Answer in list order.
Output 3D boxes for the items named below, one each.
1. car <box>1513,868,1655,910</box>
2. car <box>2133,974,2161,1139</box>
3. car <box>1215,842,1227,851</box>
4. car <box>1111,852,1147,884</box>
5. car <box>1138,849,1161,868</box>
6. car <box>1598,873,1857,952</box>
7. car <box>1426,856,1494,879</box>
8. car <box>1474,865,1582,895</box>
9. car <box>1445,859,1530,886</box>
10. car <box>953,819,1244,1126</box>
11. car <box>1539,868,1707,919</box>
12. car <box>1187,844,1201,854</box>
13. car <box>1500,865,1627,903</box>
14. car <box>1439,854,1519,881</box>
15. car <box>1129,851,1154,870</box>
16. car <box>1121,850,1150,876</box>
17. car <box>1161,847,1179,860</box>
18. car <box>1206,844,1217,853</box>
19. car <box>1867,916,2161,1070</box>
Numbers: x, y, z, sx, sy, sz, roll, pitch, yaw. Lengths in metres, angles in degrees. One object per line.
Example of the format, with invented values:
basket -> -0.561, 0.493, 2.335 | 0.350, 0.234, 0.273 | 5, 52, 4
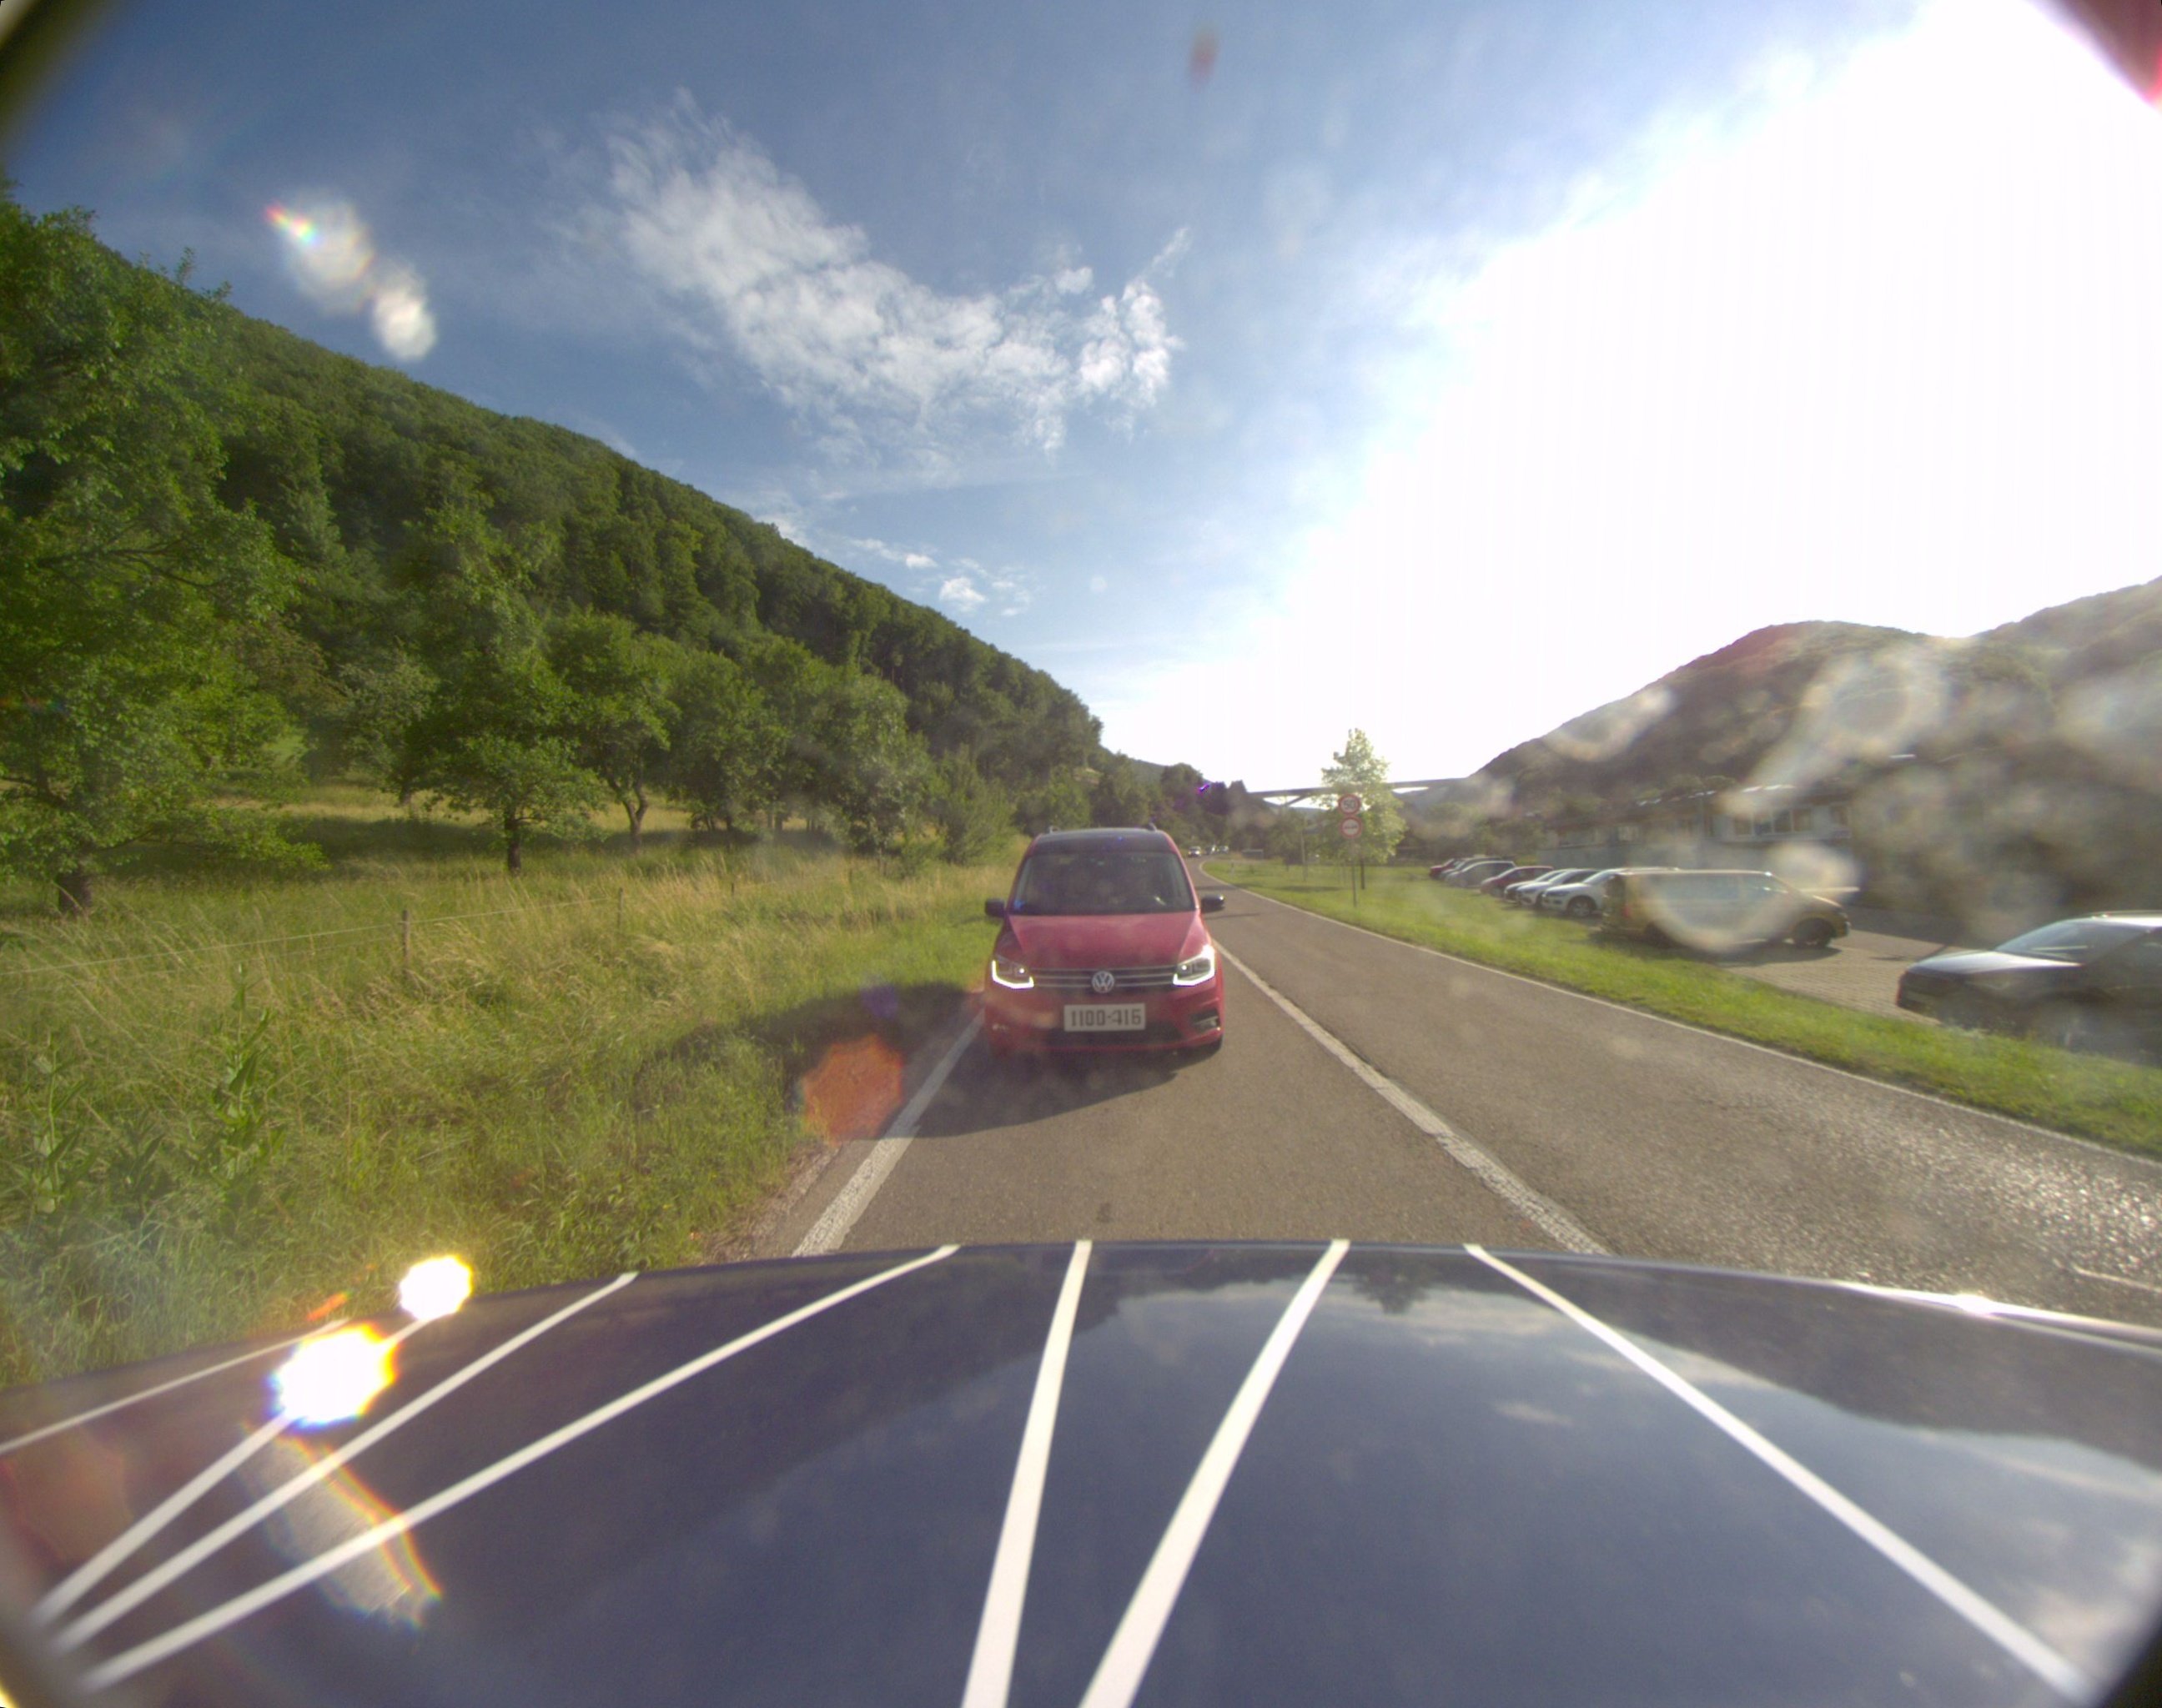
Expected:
car -> 20.210, 1.378, 30.776 | 4.437, 1.577, 2.003 | -1, 0, 20
car -> 12.033, 1.856, 5.716 | 4.645, 1.488, 1.915 | -1, 0, 15
car -> 30.016, -1.547, 162.546 | 1.996, 1.706, 4.006 | -2, -1, 17
car -> 2.501, 0.692, 39.554 | 1.692, 1.539, 4.001 | -2, 0, 4
car -> 6.837, 0.437, 75.635 | 1.997, 1.838, 4.003 | -2, 0, 8
car -> 16.312, 1.419, 19.523 | 4.653, 1.802, 2.003 | -1, 0, 20
car -> 28.909, 1.037, 58.087 | 4.437, 1.709, 2.003 | -1, 0, 18
car -> 22.715, 1.316, 38.806 | 4.437, 1.443, 2.003 | -1, 0, 20
car -> 25.820, 1.199, 48.452 | 4.437, 1.573, 2.003 | -2, 0, 18
car -> 0.137, 0.751, 6.872 | 1.747, 1.849, 4.348 | -2, 0, 1
car -> 19.334, 1.375, 27.378 | 4.545, 1.691, 2.003 | -1, 0, 20
car -> 18.894, -0.822, 127.003 | 1.796, 1.725, 4.289 | -2, 0, 17
car -> 21.420, 1.331, 33.930 | 4.437, 1.573, 2.003 | -1, 0, 18
car -> 27.618, 0.940, 52.913 | 4.665, 1.752, 2.003 | -1, 0, 18
car -> 5.165, 0.564, 64.057 | 1.797, 1.464, 4.286 | -2, 0, 8
car -> 3.816, 0.608, 52.697 | 1.901, 1.717, 4.002 | -2, 0, 5
car -> 11.704, -0.062, 99.652 | 1.911, 1.675, 4.004 | -2, -1, 12
car -> 25.222, -1.080, 147.237 | 1.677, 1.637, 3.350 | -2, 0, 16
car -> 13.542, 1.724, 9.816 | 4.289, 1.628, 1.915 | -3, 0, 15
